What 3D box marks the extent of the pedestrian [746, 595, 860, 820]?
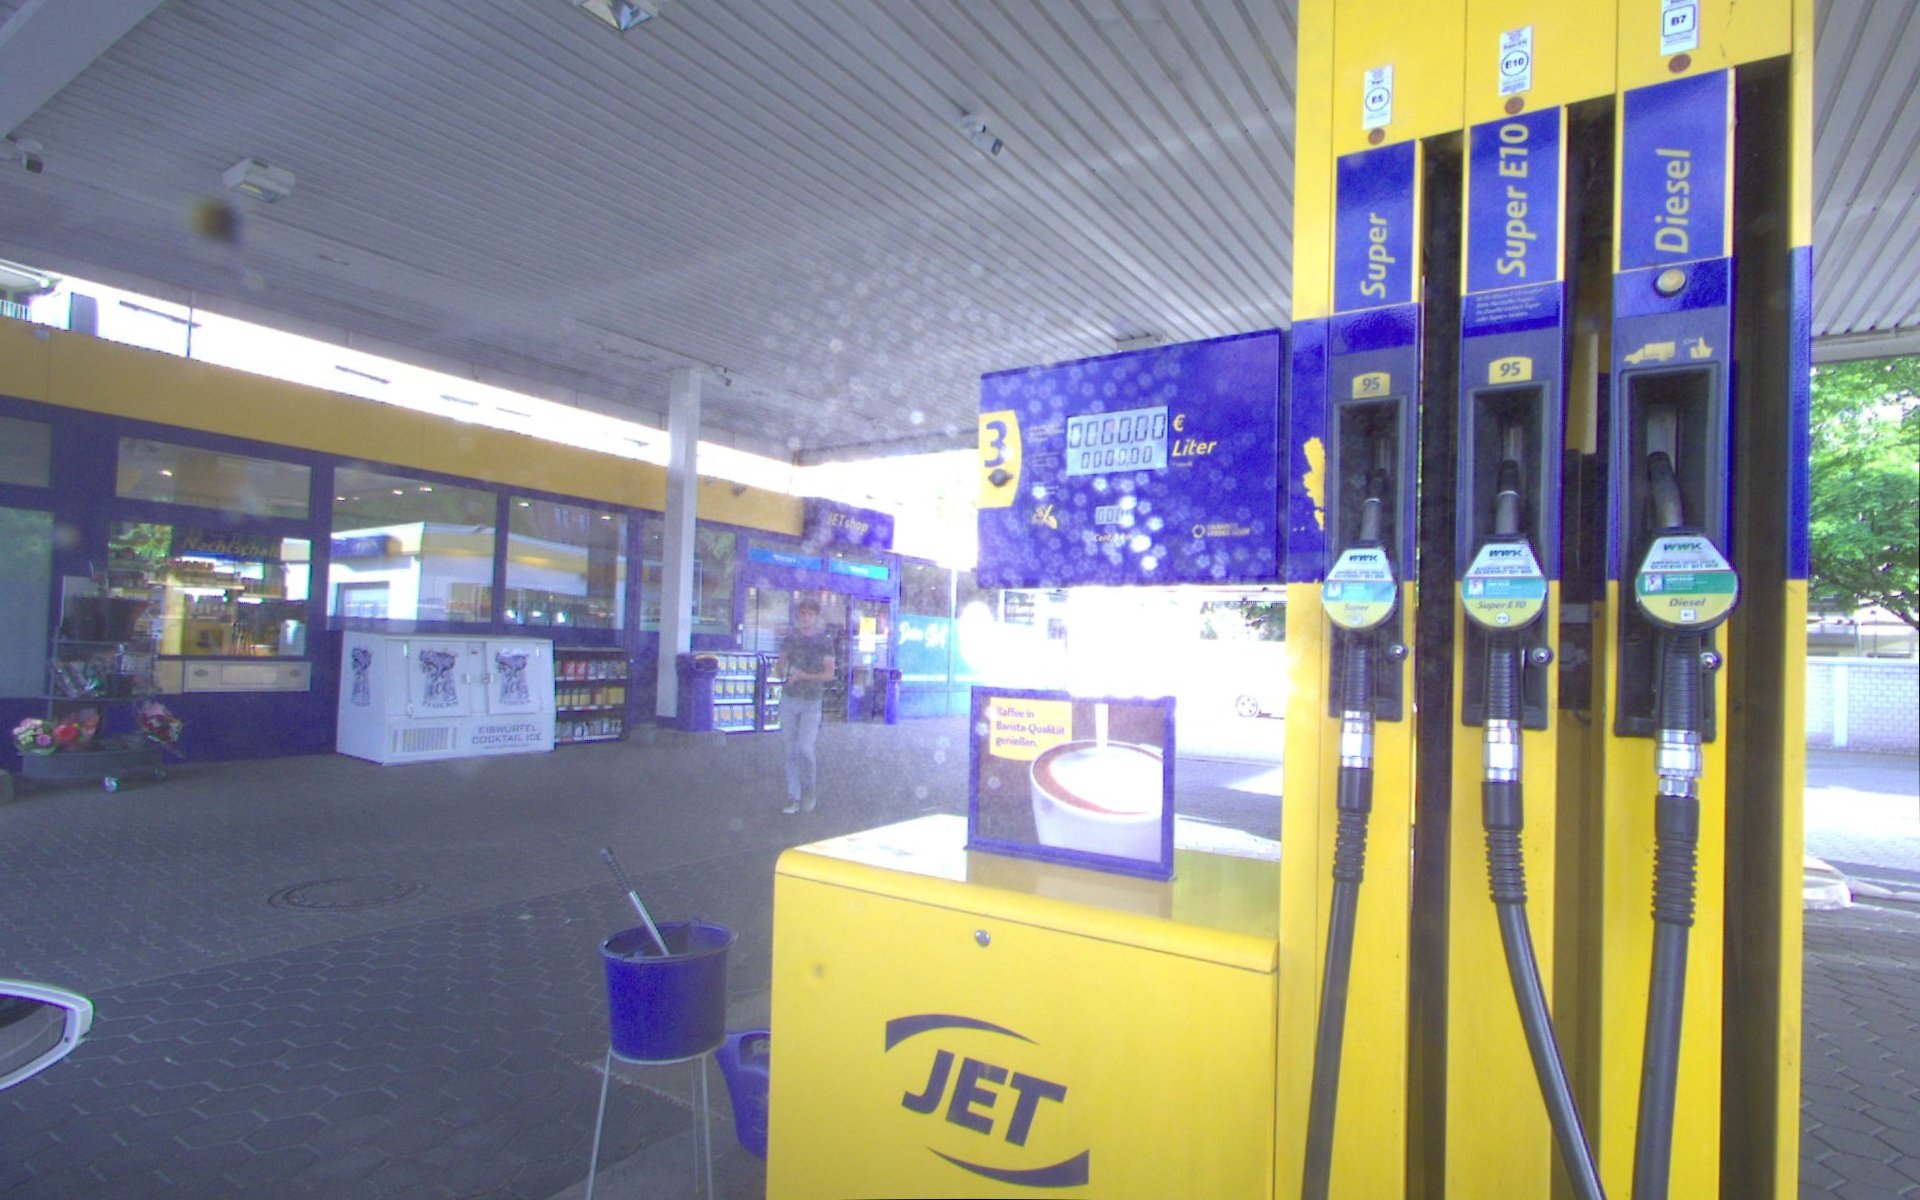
[{"bbox_3d":[-1.352,0.914,8.812,0.788,1.838,0.985,3,-2,-1],"label":"pedestrian"}]
